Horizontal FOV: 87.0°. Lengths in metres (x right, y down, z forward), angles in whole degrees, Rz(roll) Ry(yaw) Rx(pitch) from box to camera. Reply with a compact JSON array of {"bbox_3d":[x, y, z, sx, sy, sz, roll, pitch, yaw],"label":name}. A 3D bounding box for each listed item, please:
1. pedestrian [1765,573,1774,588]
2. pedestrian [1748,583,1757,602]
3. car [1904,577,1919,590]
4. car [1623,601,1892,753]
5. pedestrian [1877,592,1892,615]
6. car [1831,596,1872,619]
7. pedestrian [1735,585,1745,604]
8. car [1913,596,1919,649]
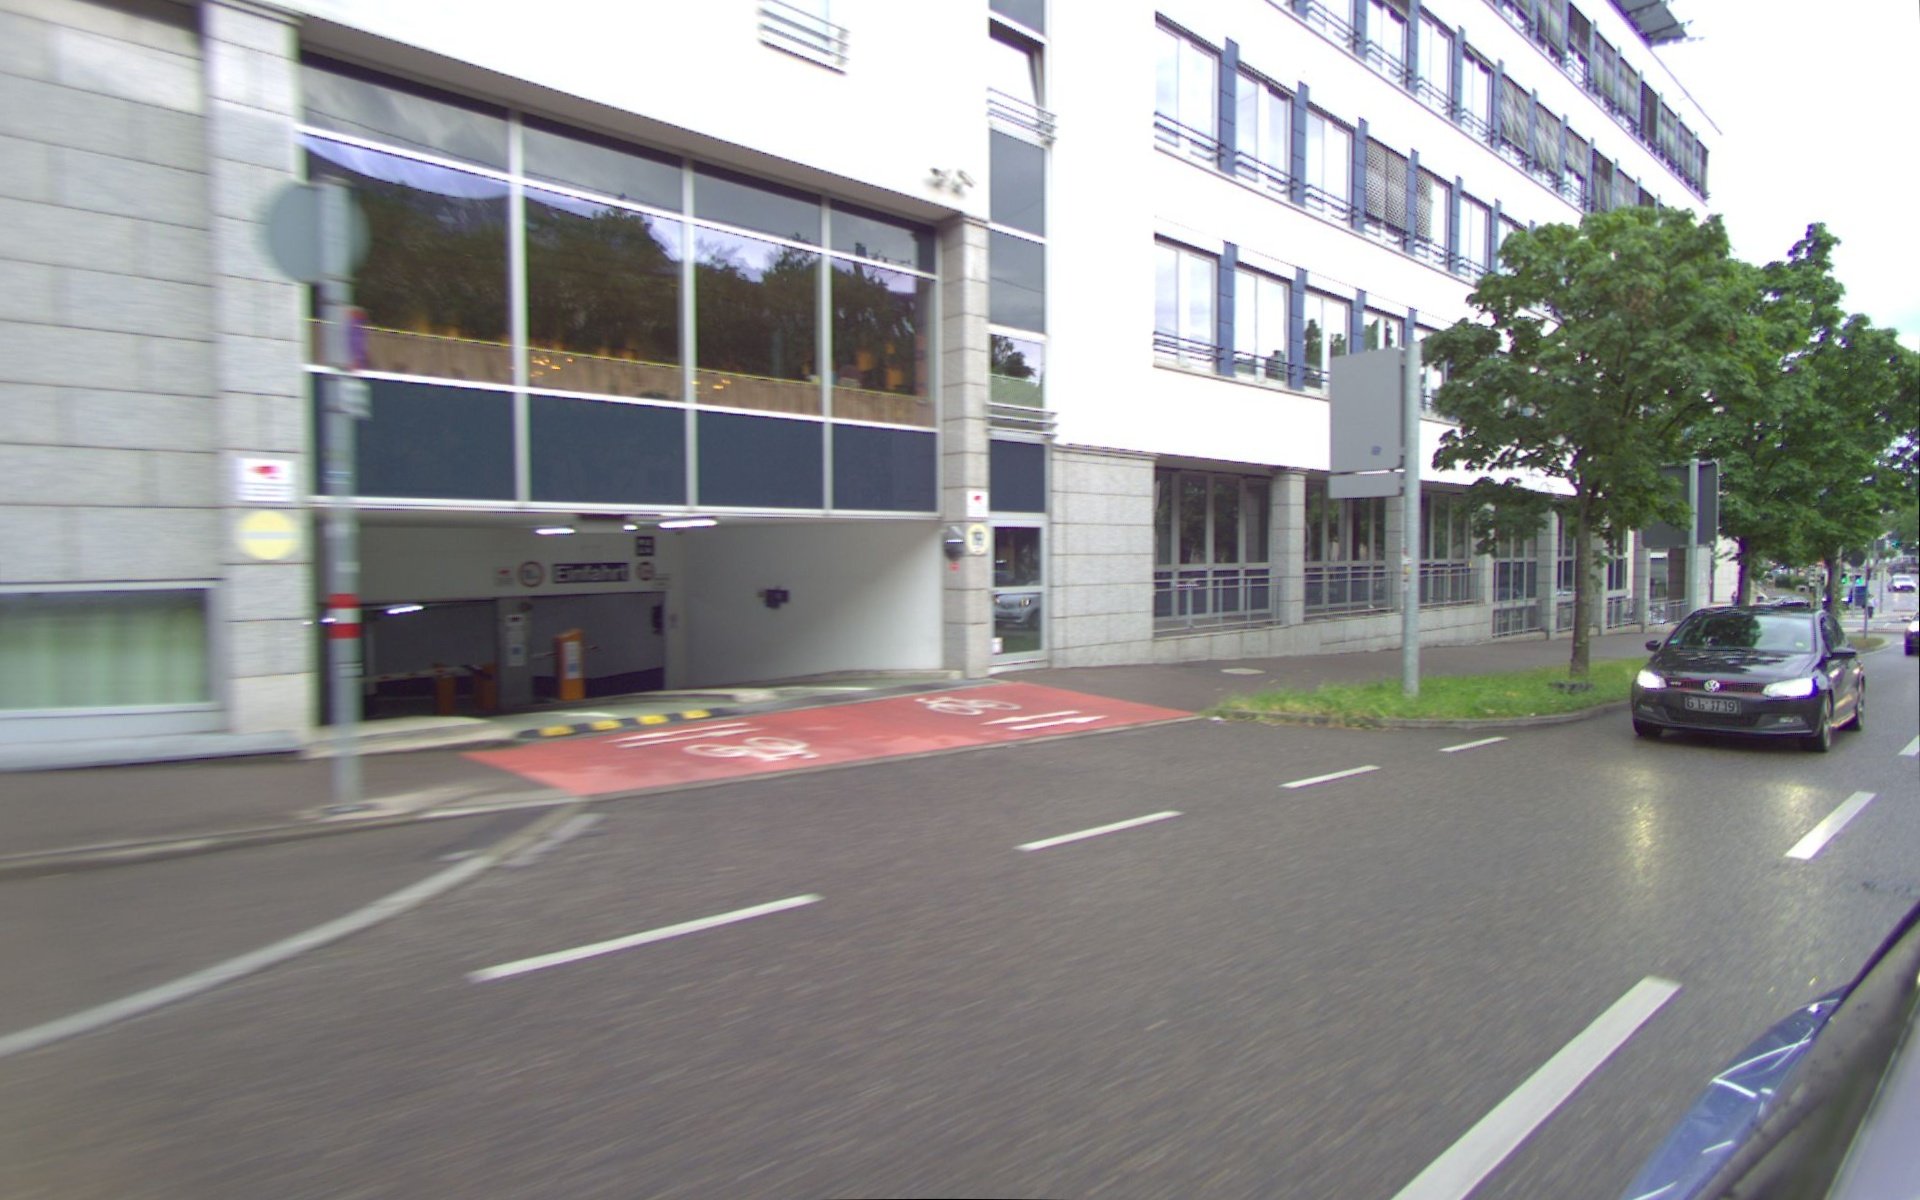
[{"bbox_3d":[82.341,-1.947,102.956,0.582,1.496,0.598,-1,0,27],"label":"pedestrian"},{"bbox_3d":[68.119,-0.654,87.001,0.584,1.630,0.597,-1,0,35],"label":"pedestrian"},{"bbox_3d":[112.822,-1.964,119.291,1.789,1.529,3.948,-1,0,36],"label":"car"},{"bbox_3d":[9.066,0.727,11.404,3.781,1.417,1.677,0,0,-40],"label":"car"},{"bbox_3d":[61.509,0.228,67.322,0.582,1.496,0.598,-1,0,27],"label":"pedestrian"},{"bbox_3d":[74.495,0.597,84.538,4.214,1.885,1.798,-1,0,-38],"label":"car"},{"bbox_3d":[67.449,-0.478,87.500,0.584,1.630,0.597,-1,0,35],"label":"pedestrian"},{"bbox_3d":[28.607,0.601,28.807,3.641,1.459,1.750,-1,0,-40],"label":"car"}]
